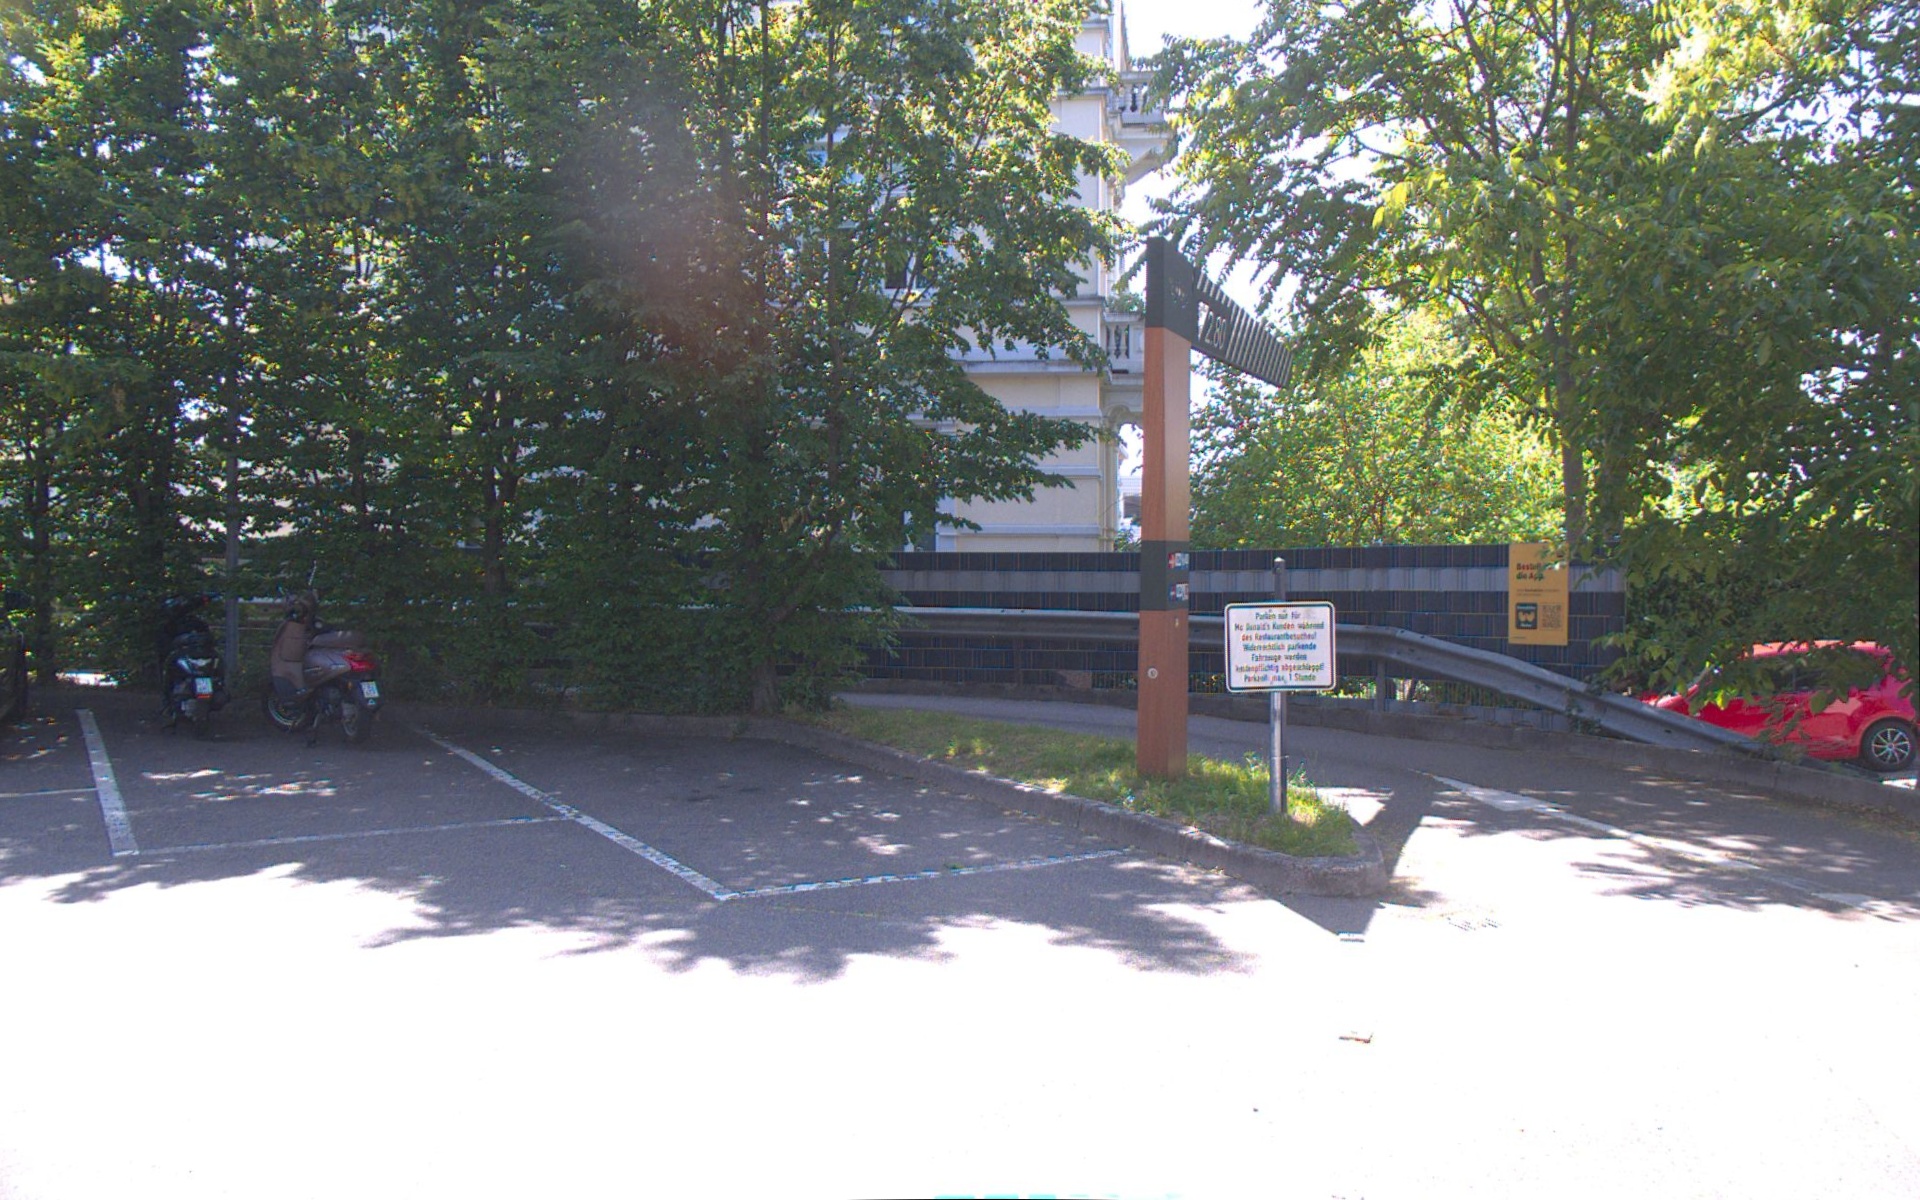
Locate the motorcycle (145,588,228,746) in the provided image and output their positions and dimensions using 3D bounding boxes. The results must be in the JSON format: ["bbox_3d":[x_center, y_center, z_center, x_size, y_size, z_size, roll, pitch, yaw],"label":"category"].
[{"bbox_3d":[-6.303,0.506,13.443,0.468,1.160,1.589,-1,2,-30],"label":"motorcycle"}]

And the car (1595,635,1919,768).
[{"bbox_3d":[9.400,1.158,19.550,3.331,1.402,1.488,0,2,11],"label":"car"}]

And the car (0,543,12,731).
[{"bbox_3d":[-8.383,0.345,12.751,1.636,1.495,3.871,-1,3,-27],"label":"car"}]

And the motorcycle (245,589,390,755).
[{"bbox_3d":[-5.028,0.523,12.890,0.565,1.189,1.582,-1,2,-40],"label":"motorcycle"}]
